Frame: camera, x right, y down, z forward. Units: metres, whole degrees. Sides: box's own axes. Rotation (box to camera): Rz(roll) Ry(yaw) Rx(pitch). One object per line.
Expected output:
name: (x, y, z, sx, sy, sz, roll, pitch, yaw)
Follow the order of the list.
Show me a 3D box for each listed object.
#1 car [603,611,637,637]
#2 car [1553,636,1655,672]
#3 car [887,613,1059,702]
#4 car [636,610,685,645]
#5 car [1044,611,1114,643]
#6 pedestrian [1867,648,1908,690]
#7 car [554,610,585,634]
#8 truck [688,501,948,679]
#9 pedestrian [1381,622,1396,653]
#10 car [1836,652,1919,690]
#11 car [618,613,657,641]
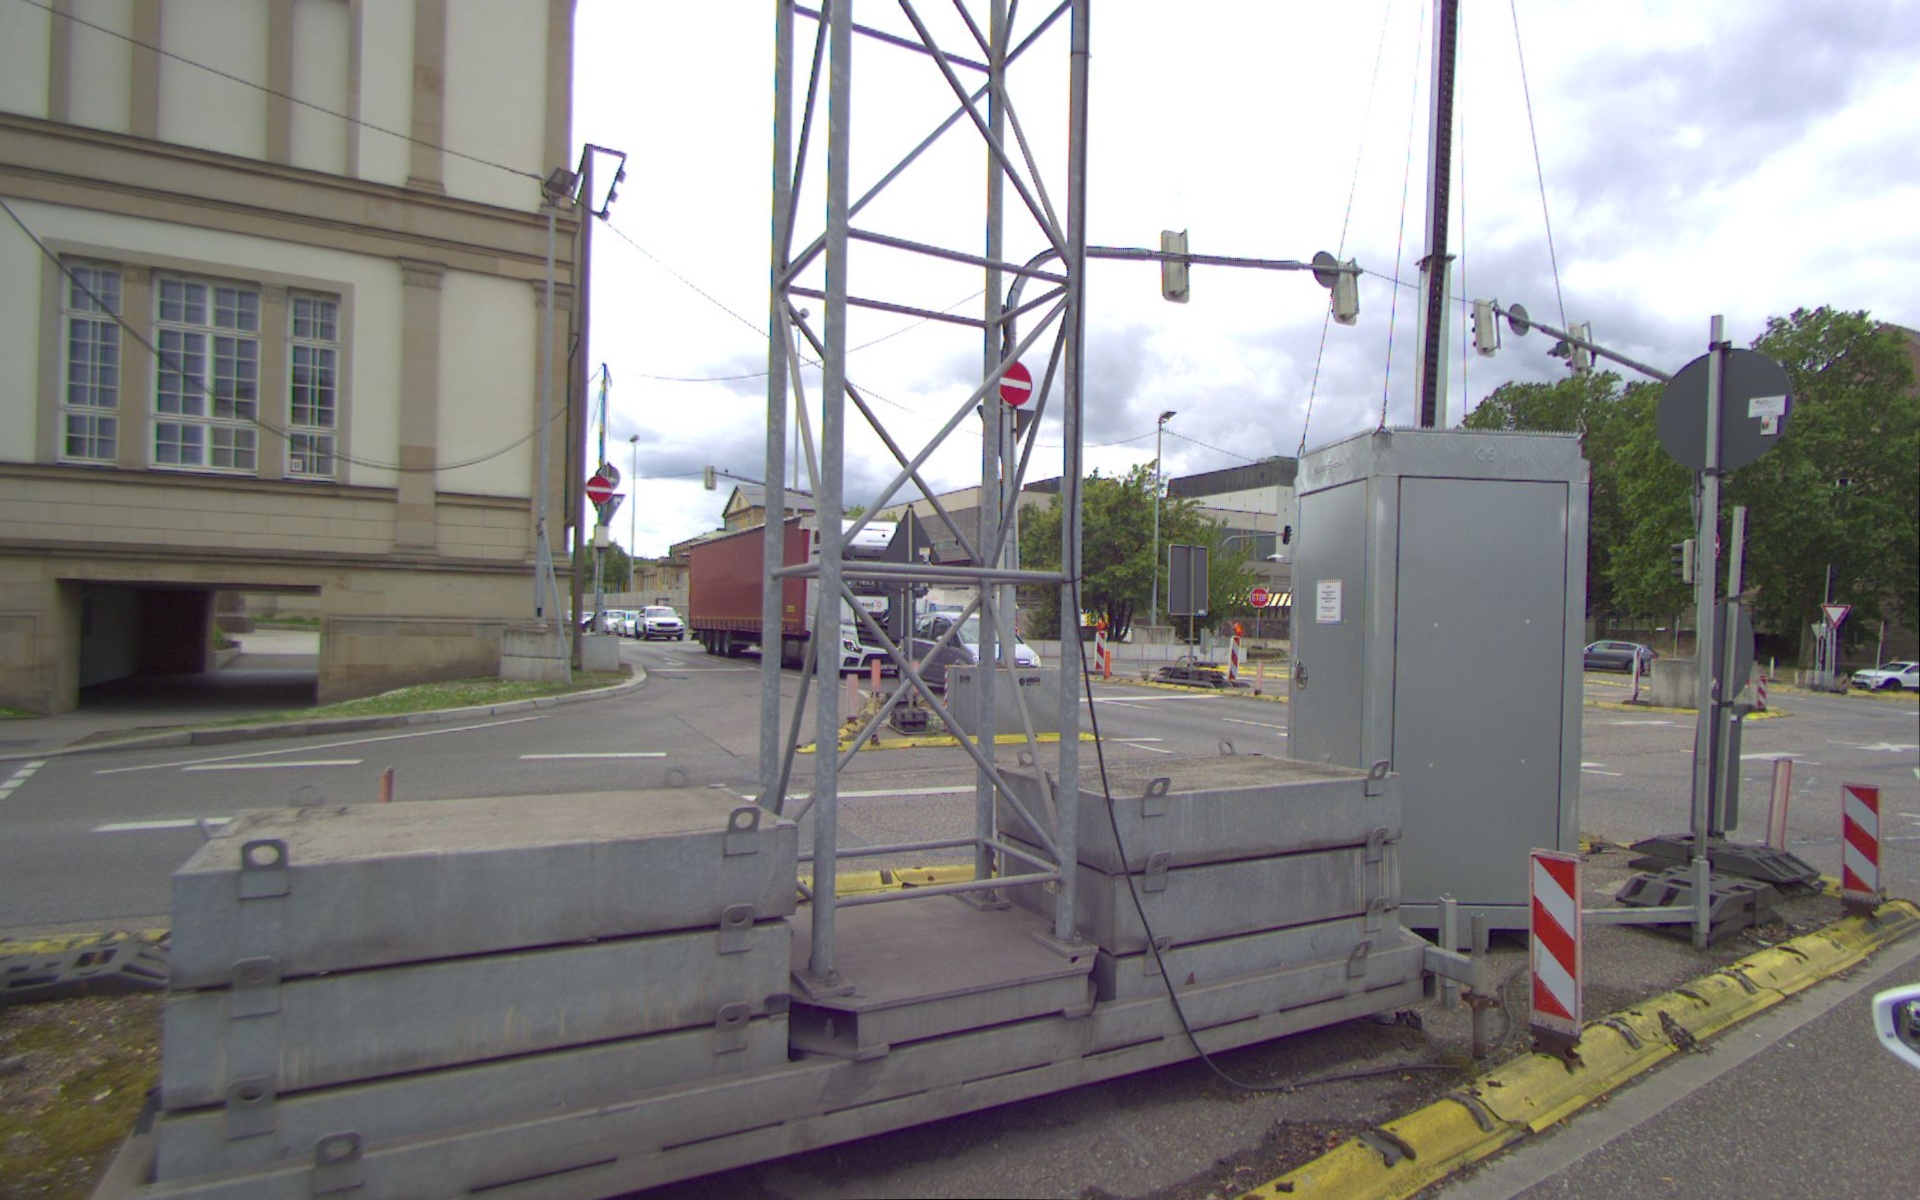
car: (-20.981, 1.485, 61.878, 1.590, 1.498, 3.620, 3, -2, -25)
car: (33.778, 2.795, 52.715, 4.405, 1.588, 1.823, 2, 0, 35)
car: (0.136, 1.100, 20.411, 1.749, 1.524, 4.102, 2, 0, -27)
car: (-14.735, 1.324, 49.331, 1.693, 1.557, 4.115, 3, -2, -25)
car: (9.024, 2.043, 76.719, 2.560, 2.406, 5.483, 1, -1, -30)
pedestrian: (46.846, 3.467, 50.741, 1.172, 2.040, 1.203, 2, -1, 24)
car: (-25.872, 1.442, 66.493, 1.590, 1.498, 3.620, 3, -2, -25)
truck: (-5.308, -0.183, 31.472, 2.889, 4.137, 16.498, 1, -1, -27)
pedestrian: (28.630, 2.486, 67.087, 0.836, 2.040, 0.621, 1, -1, 31)
car: (45.005, 3.445, 48.129, 4.243, 1.588, 1.757, 3, 0, 9)
car: (-17.790, 1.460, 55.265, 1.570, 1.445, 3.620, 3, -2, -25)
